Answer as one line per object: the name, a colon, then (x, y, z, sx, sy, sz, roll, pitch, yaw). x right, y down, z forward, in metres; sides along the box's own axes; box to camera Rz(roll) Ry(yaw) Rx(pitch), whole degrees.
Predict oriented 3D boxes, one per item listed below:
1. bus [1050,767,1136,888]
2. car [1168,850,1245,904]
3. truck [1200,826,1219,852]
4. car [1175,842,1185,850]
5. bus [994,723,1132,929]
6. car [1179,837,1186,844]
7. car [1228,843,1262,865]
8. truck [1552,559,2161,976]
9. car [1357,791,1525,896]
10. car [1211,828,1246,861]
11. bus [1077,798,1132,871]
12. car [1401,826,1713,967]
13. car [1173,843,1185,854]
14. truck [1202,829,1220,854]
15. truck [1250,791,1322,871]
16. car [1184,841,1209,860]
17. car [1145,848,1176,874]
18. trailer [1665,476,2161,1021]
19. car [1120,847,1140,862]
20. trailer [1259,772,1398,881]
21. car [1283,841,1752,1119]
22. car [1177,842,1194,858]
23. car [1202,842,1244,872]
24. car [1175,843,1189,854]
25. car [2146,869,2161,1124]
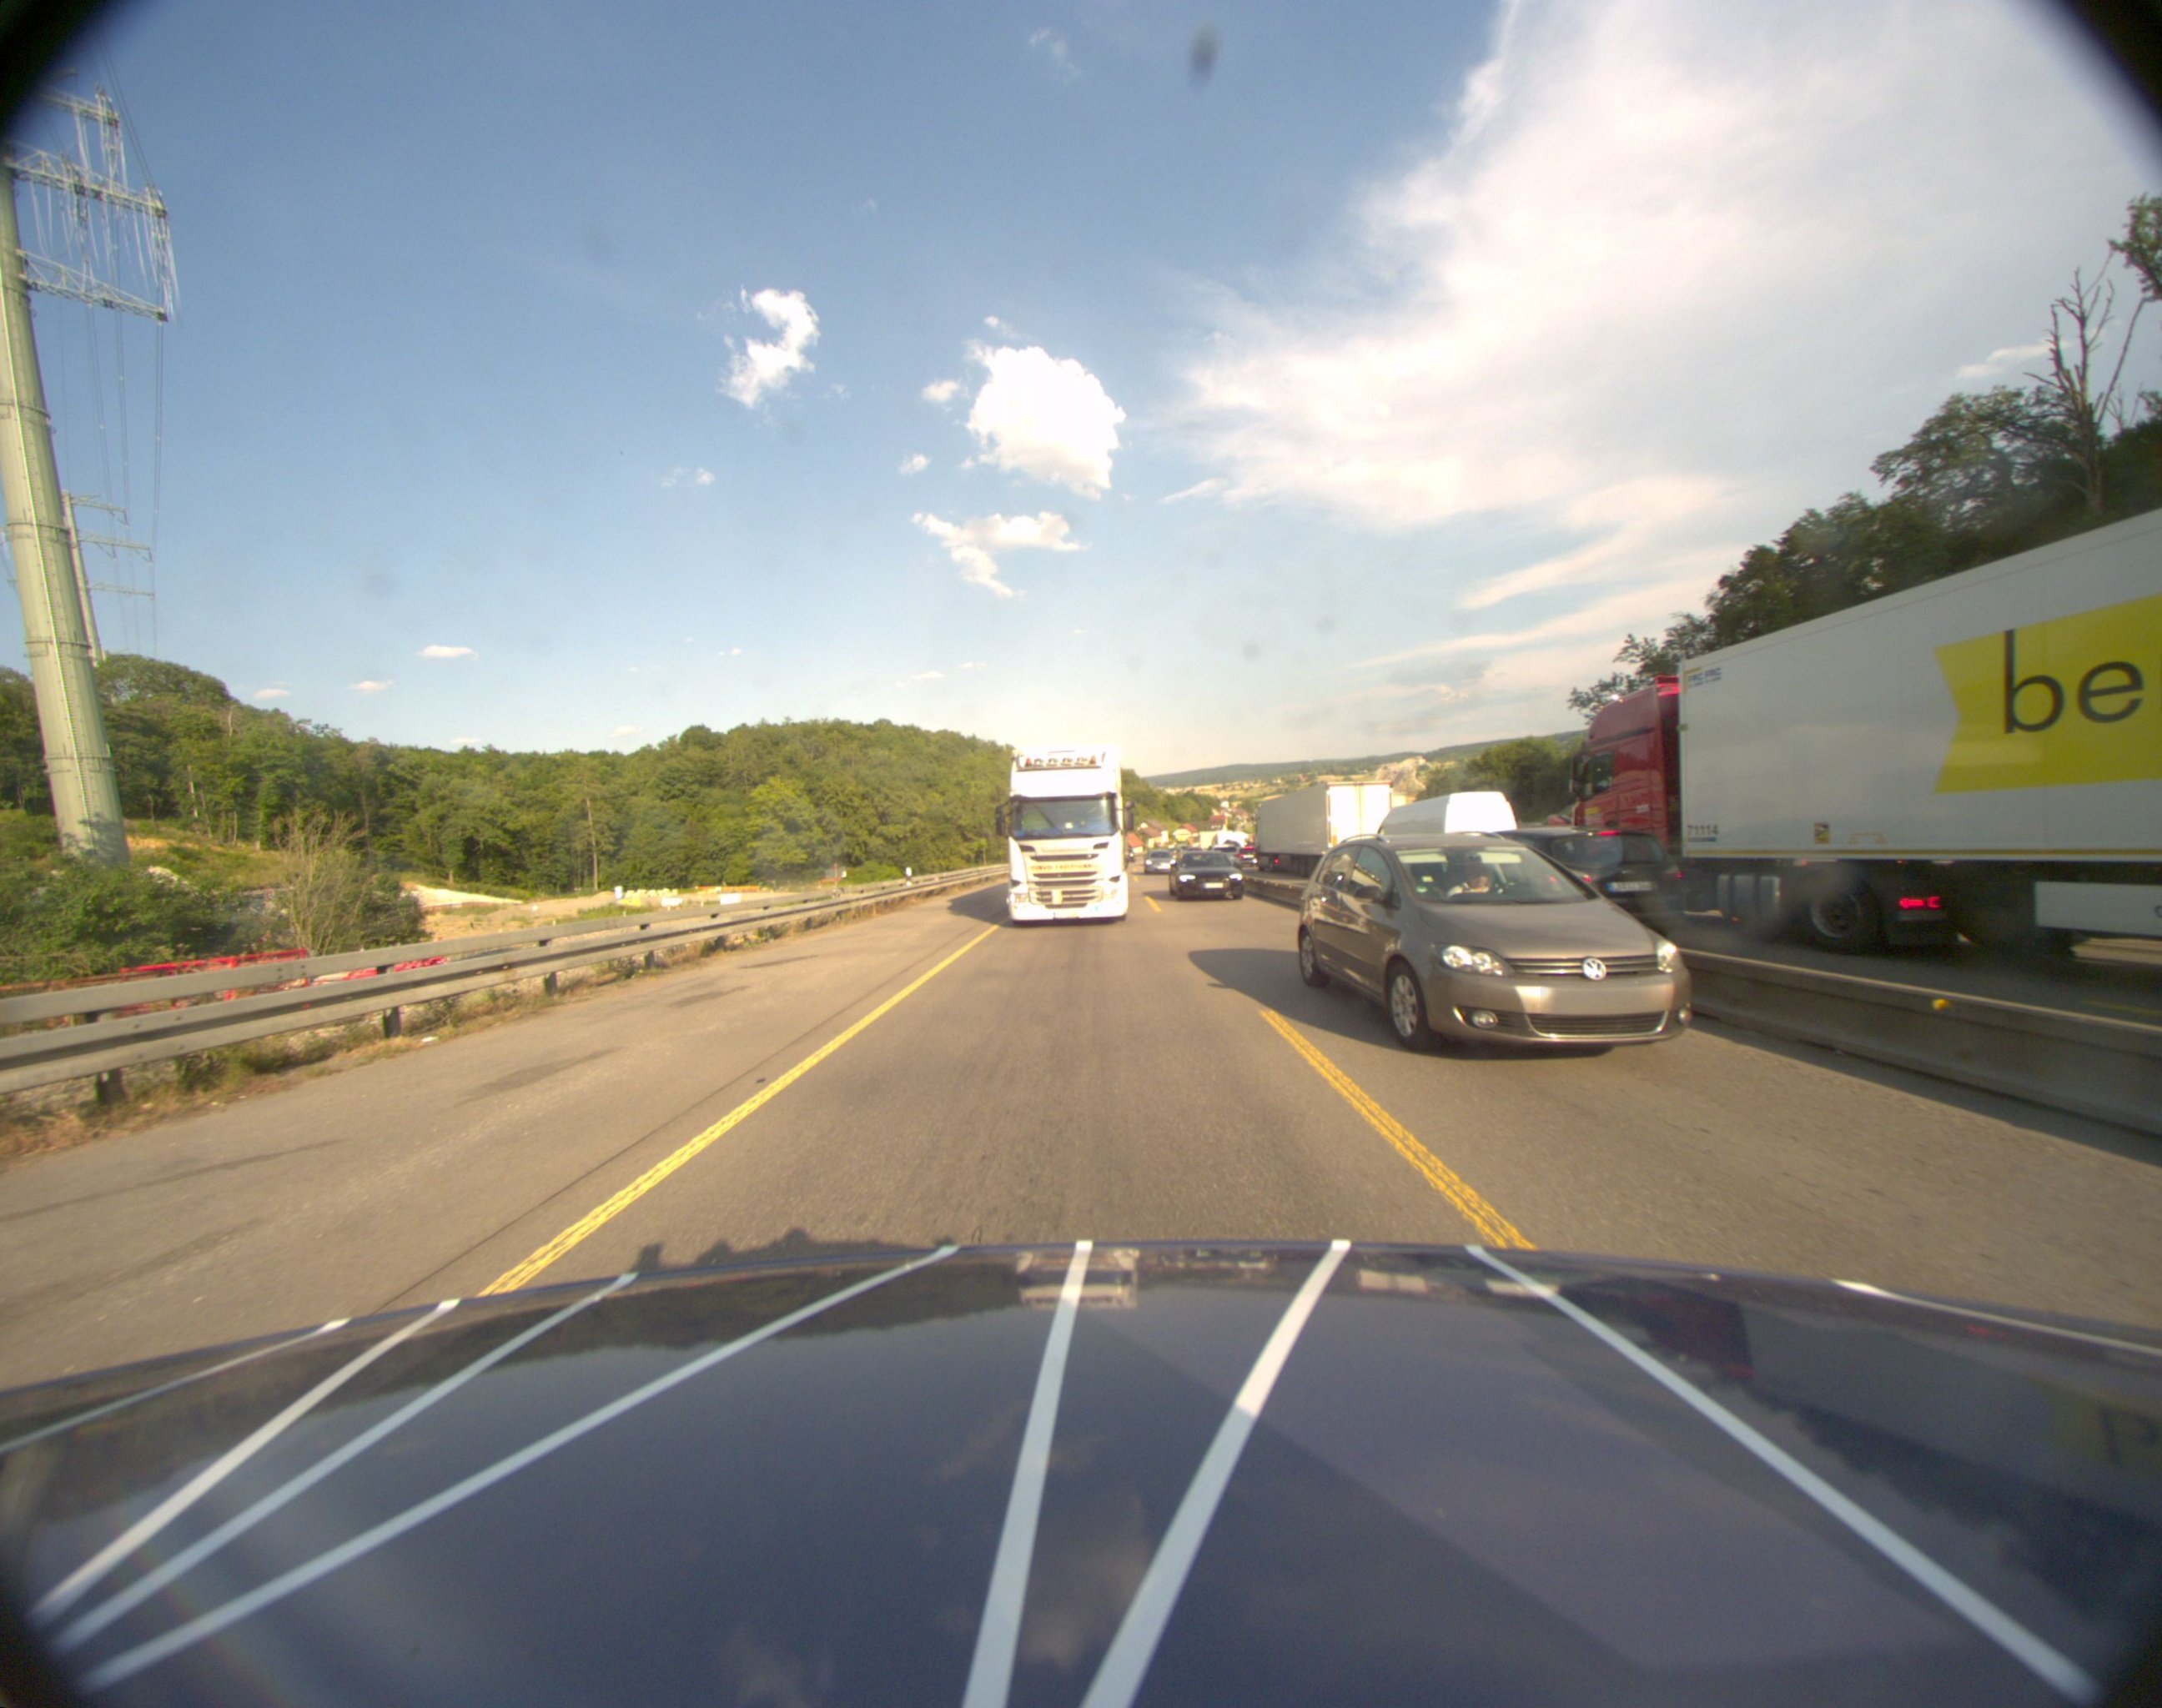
bus: (0.815, -1.062, 34.141, 2.984, 4.553, 9.970, -2, 0, 5)
car: (3.700, 0.616, 22.958, 1.866, 1.391, 4.000, -1, 1, 3)
truck: (21.476, -2.509, 127.126, 2.712, 4.065, 14.159, -1, 1, 8)
car: (19.687, -1.573, 151.774, 1.821, 1.569, 4.757, 0, 0, 5)
bus: (0.010, -0.672, 20.863, 2.634, 4.077, 11.314, -1, 1, 4)
car: (28.086, -3.713, 210.752, 1.821, 1.988, 4.757, 0, 0, 5)
car: (11.827, -0.040, 54.958, 1.747, 1.452, 4.714, -2, 0, 4)
truck: (10.004, -0.935, 10.937, 2.752, 4.275, 5.933, -2, 1, 1)
car: (10.712, -0.275, 23.417, 2.026, 2.674, 6.950, -3, 0, 2)
car: (14.009, -0.936, 72.670, 2.339, 2.901, 7.633, -1, 1, 4)
bus: (1.879, -1.292, 53.908, 2.984, 4.553, 10.907, -2, 0, 6)
car: (6.719, 0.491, 11.518, 1.756, 1.648, 4.862, -2, 1, 2)
car: (15.504, -0.857, 120.385, 1.821, 1.569, 4.757, 0, 0, 5)
truck: (19.337, -1.870, 113.336, 2.451, 3.443, 7.621, -2, 1, 9)
truck: (11.632, -1.290, 43.591, 2.719, 4.194, 5.682, -2, 1, 2)
car: (10.608, -0.299, 69.941, 1.892, 1.559, 4.457, -3, 0, 5)
car: (4.720, 0.385, 45.202, 1.698, 1.390, 4.002, -3, 0, 6)
trailer: (9.917, -0.836, 4.231, 2.773, 4.309, 13.879, -2, 1, 1)
car: (5.733, -0.003, 89.509, 1.999, 1.630, 3.999, -2, 1, 0)
trailer: (11.322, -1.183, 36.673, 2.727, 4.194, 13.748, -2, 1, 3)
car: (3.075, 0.707, 6.453, 1.688, 1.565, 4.099, -2, 1, 2)
car: (12.290, -0.451, 89.475, 1.808, 1.761, 5.456, -2, -1, 6)
car: (8.194, 0.124, 44.242, 1.873, 1.579, 4.804, -3, 1, 5)
car: (14.461, -0.752, 108.756, 1.821, 1.569, 4.757, 0, 0, 5)
car: (6.607, 0.735, 1.642, 1.735, 1.369, 4.890, -4, 1, 0)
